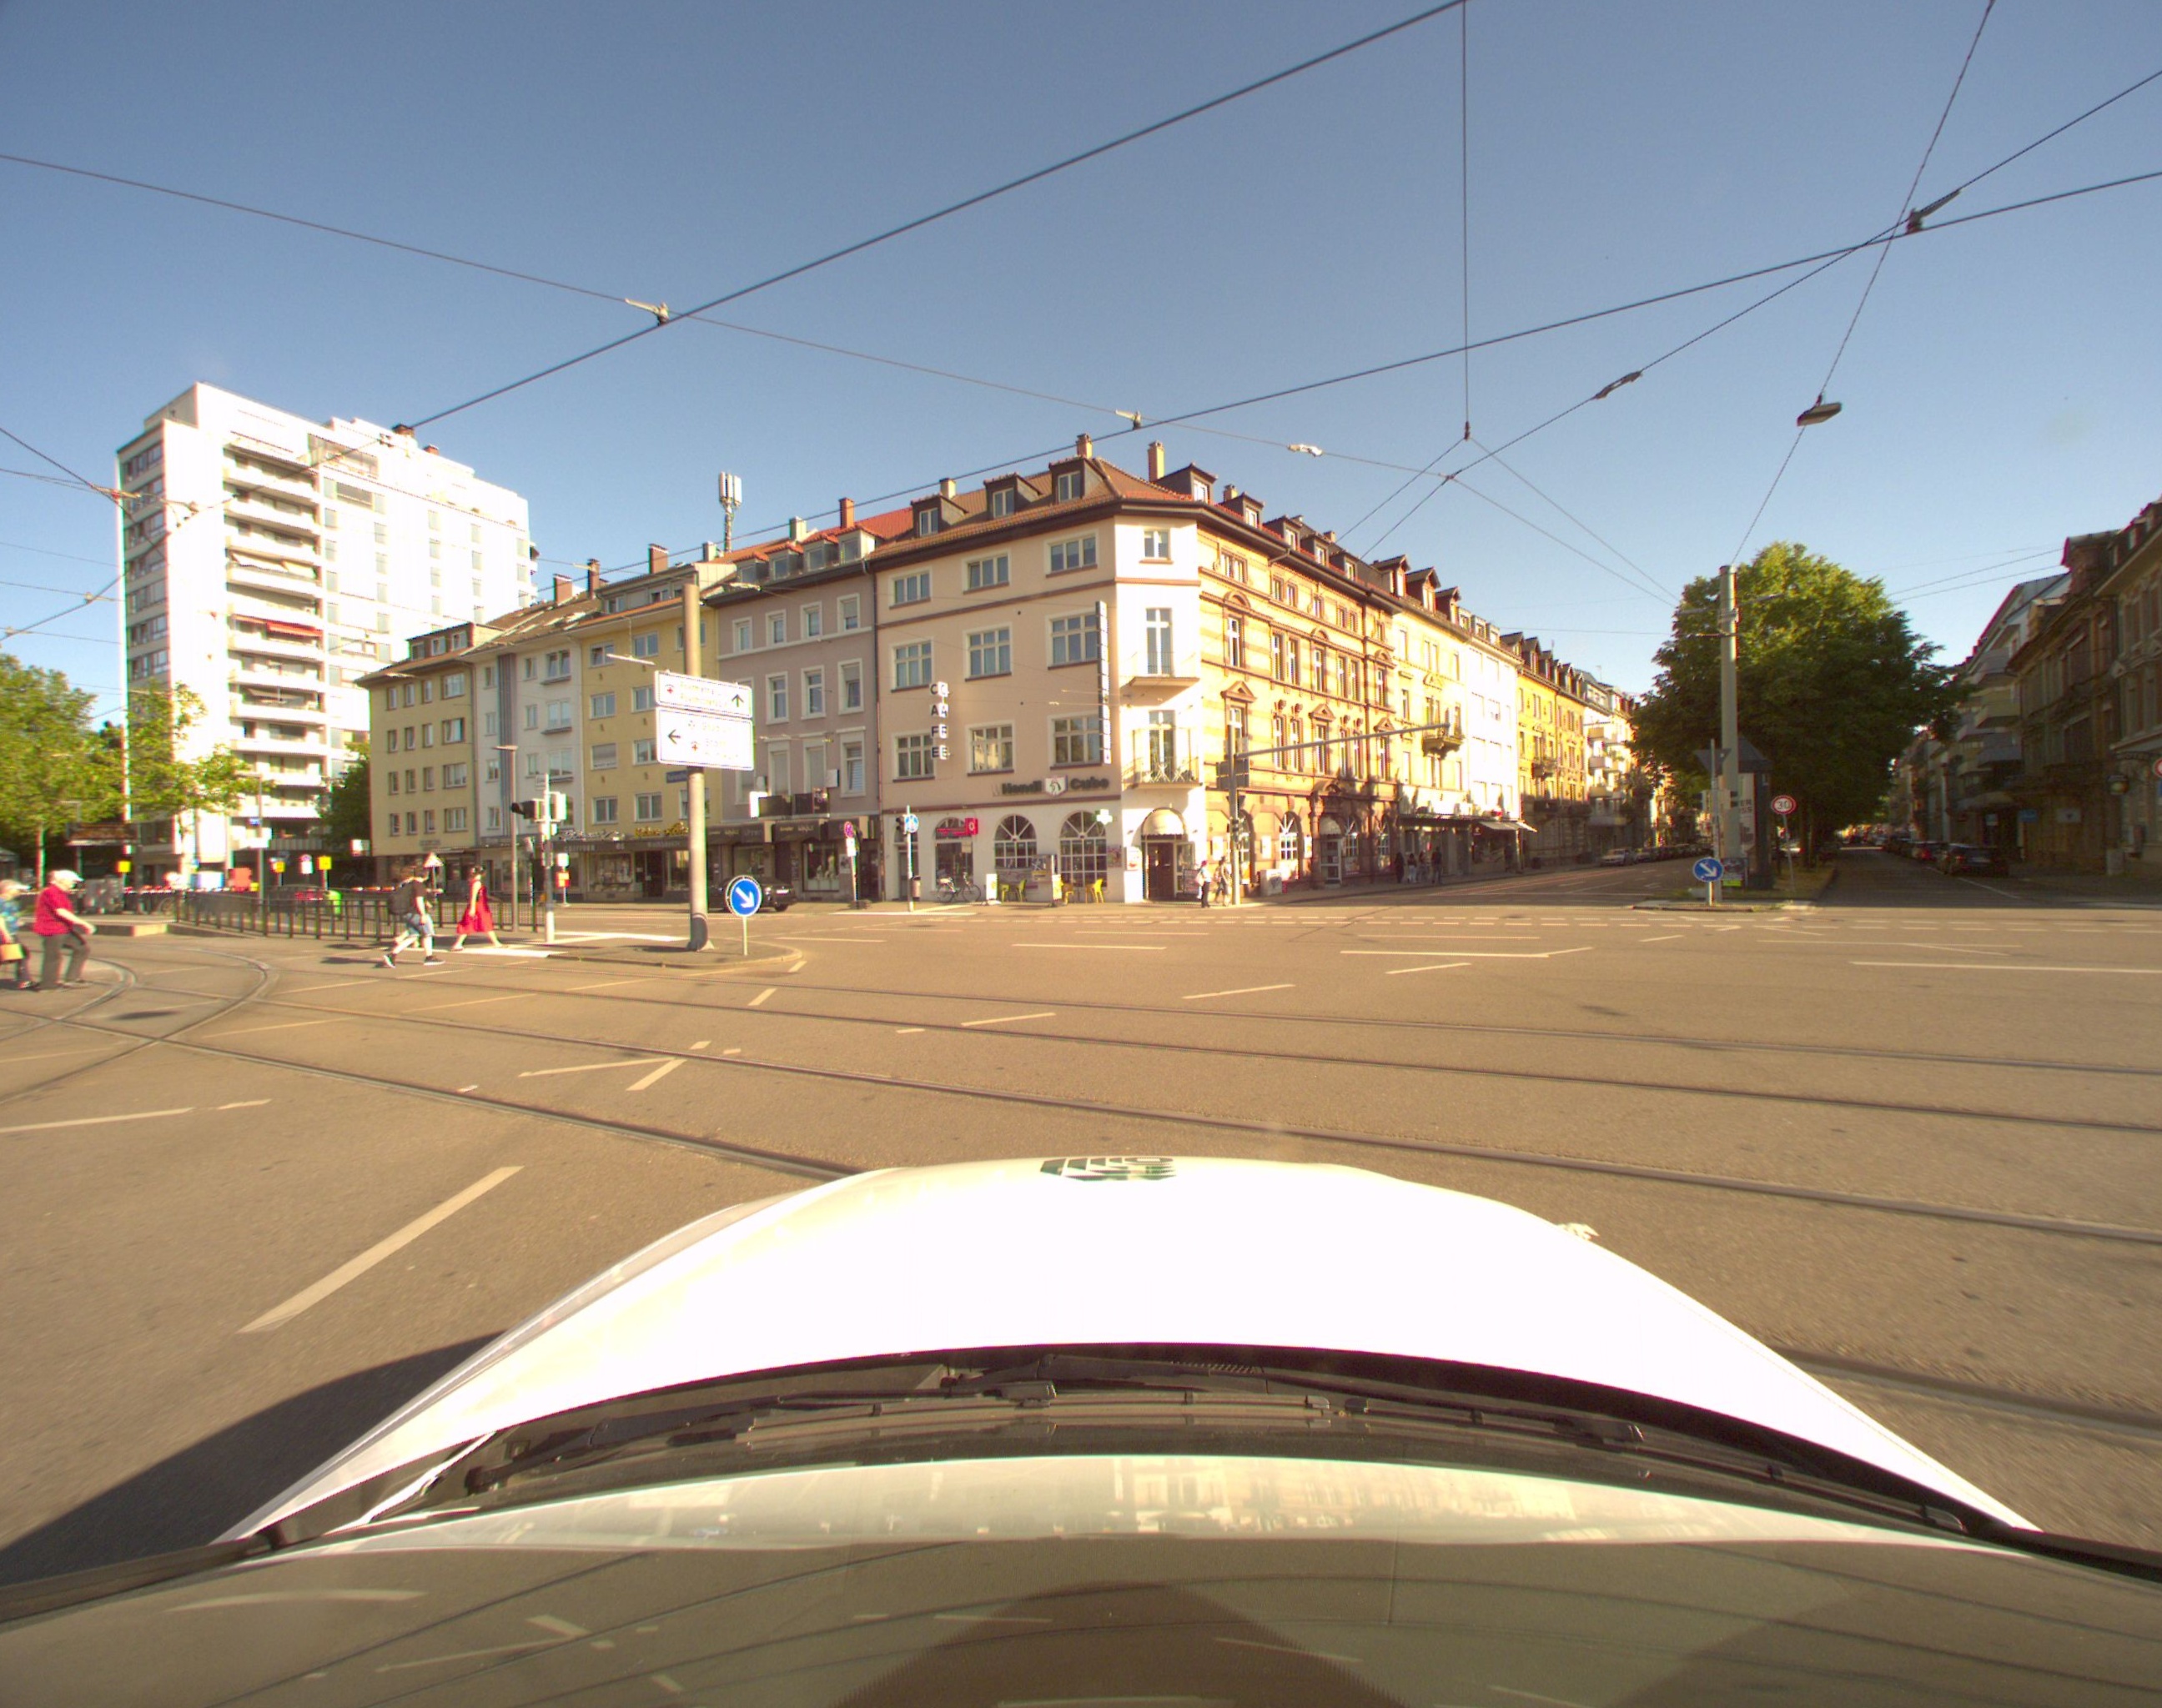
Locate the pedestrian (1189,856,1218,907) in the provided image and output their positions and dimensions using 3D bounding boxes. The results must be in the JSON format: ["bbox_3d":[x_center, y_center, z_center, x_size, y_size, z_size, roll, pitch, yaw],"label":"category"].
[{"bbox_3d":[3.999,0.898,26.599,0.669,1.642,0.582,-2,-1,40],"label":"pedestrian"}]

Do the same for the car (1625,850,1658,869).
[{"bbox_3d":[50.059,0.483,72.735,1.974,1.497,4.059,-2,0,41],"label":"car"}]

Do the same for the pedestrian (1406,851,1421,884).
[{"bbox_3d":[16.948,0.703,41.550,0.545,1.642,0.541,-2,-1,38],"label":"pedestrian"}]

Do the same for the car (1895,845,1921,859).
[{"bbox_3d":[95.156,-0.212,93.783,1.975,1.497,4.057,-2,0,44],"label":"car"}]

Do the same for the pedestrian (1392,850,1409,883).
[{"bbox_3d":[16.413,0.646,41.833,0.621,1.642,0.541,-2,-1,38],"label":"pedestrian"}]

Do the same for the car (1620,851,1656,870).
[{"bbox_3d":[47.152,0.507,68.895,1.974,1.497,4.059,-2,0,41],"label":"car"}]

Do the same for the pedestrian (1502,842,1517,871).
[{"bbox_3d":[28.580,0.142,54.289,0.675,1.908,0.637,-2,-1,43],"label":"pedestrian"}]

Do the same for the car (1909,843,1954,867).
[{"bbox_3d":[59.480,0.058,56.995,1.975,1.497,4.057,-2,0,44],"label":"car"}]

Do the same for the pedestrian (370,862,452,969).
[{"bbox_3d":[-11.310,1.021,13.767,0.647,1.733,0.804,-2,0,15],"label":"pedestrian"}]

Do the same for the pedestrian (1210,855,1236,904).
[{"bbox_3d":[4.872,0.870,27.912,0.625,1.642,0.556,-2,-1,40],"label":"pedestrian"}]

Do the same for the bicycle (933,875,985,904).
[{"bbox_3d":[-4.786,1.399,31.918,1.928,1.067,0.586,-2,0,16],"label":"bicycle"}]

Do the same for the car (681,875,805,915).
[{"bbox_3d":[-13.224,1.588,31.814,4.598,1.440,1.754,-2,-1,24],"label":"car"}]

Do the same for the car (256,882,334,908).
[{"bbox_3d":[-46.102,2.388,47.780,3.951,1.430,1.953,-2,-1,24],"label":"car"}]

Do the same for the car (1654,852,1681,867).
[{"bbox_3d":[63.168,0.565,87.714,1.974,1.497,4.059,-2,0,41],"label":"car"}]

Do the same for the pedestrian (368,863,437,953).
[{"bbox_3d":[-13.682,1.070,16.426,0.779,1.733,0.829,-2,-1,31],"label":"pedestrian"}]

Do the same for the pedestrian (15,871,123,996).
[{"bbox_3d":[-14.814,1.127,11.950,0.853,1.724,0.815,-1,-1,-41],"label":"pedestrian"}]

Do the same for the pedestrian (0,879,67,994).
[{"bbox_3d":[-15.676,1.195,12.010,0.854,1.631,0.813,-2,-1,44],"label":"pedestrian"}]

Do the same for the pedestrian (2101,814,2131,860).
[{"bbox_3d":[38.718,-0.613,30.475,0.581,1.643,0.585,10,-8,-43],"label":"pedestrian"}]

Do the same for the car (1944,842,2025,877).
[{"bbox_3d":[41.619,0.226,37.605,1.974,1.497,4.059,-2,0,41],"label":"car"}]

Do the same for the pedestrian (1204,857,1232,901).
[{"bbox_3d":[4.915,0.895,29.217,0.662,1.524,0.688,-1,-1,-31],"label":"pedestrian"}]

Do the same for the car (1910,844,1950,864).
[{"bbox_3d":[65.969,-0.015,63.327,1.975,1.497,4.057,-2,0,44],"label":"car"}]

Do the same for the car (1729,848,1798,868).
[{"bbox_3d":[56.416,0.340,67.324,2.008,1.545,3.957,-1,0,-35],"label":"car"}]

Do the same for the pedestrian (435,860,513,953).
[{"bbox_3d":[-11.840,1.001,15.903,0.830,1.733,0.910,-2,-1,26],"label":"pedestrian"}]

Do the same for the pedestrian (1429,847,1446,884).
[{"bbox_3d":[18.297,0.590,41.827,0.574,1.836,0.637,-2,-1,43],"label":"pedestrian"}]

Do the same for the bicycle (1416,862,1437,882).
[{"bbox_3d":[19.363,1.001,45.644,0.490,1.067,1.780,-2,0,43],"label":"bicycle"}]

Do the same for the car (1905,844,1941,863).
[{"bbox_3d":[71.121,-0.057,68.828,1.975,1.497,4.057,-2,0,44],"label":"car"}]

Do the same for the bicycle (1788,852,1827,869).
[{"bbox_3d":[47.715,0.451,53.502,0.581,1.067,1.943,-2,0,-9],"label":"bicycle"}]

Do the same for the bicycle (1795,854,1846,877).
[{"bbox_3d":[36.726,0.561,40.469,0.581,1.067,1.943,-2,0,-9],"label":"bicycle"}]

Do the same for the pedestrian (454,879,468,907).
[{"bbox_3d":[-36.100,2.273,47.437,0.460,1.562,0.511,-2,-1,29],"label":"pedestrian"}]

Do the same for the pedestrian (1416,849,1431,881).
[{"bbox_3d":[17.664,0.572,41.984,0.545,1.642,0.637,-2,-1,38],"label":"pedestrian"}]

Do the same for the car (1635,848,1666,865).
[{"bbox_3d":[53.698,0.246,76.796,1.974,1.497,4.059,-2,0,41],"label":"car"}]
